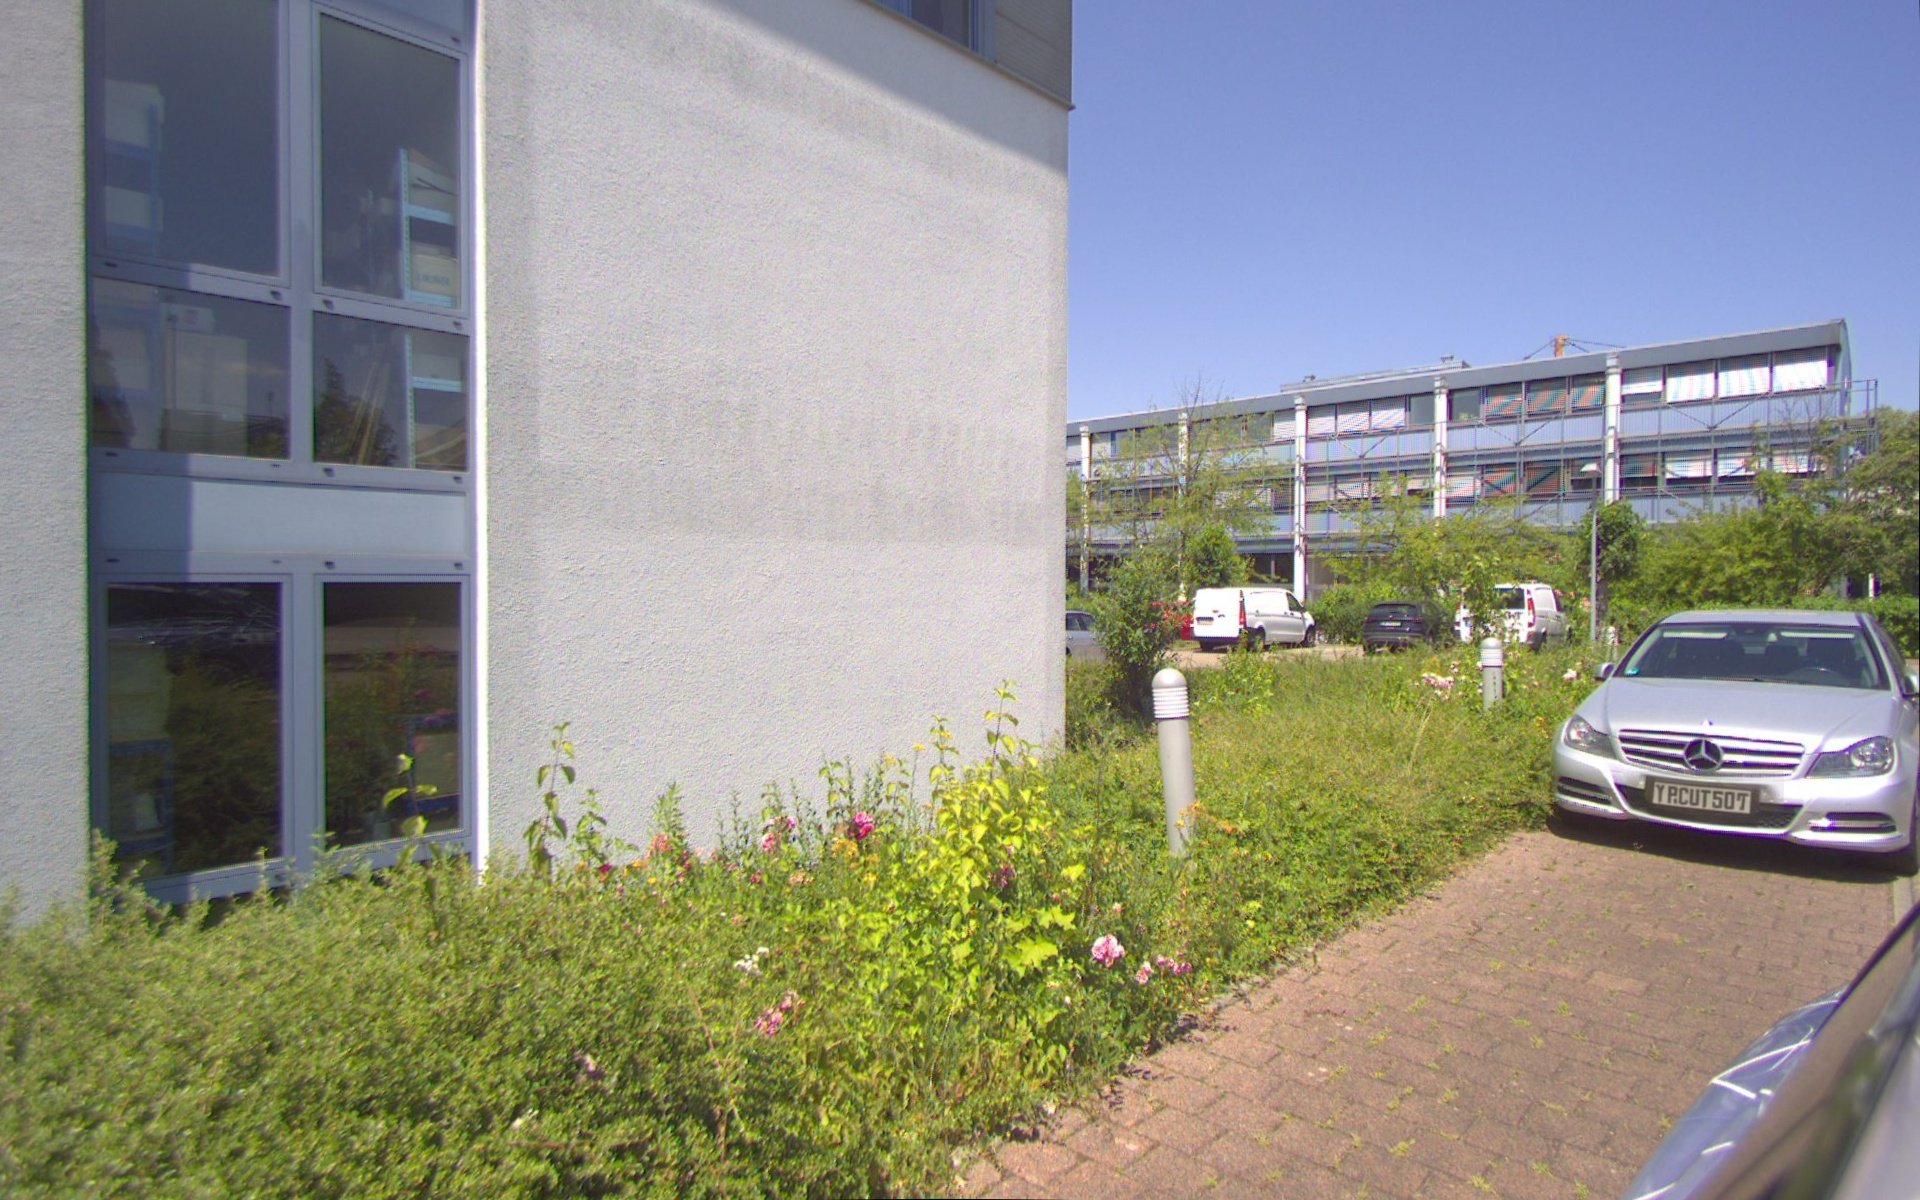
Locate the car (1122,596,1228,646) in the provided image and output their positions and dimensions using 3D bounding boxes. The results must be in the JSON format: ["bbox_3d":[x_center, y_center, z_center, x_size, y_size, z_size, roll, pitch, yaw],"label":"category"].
[{"bbox_3d":[7.176,0.666,33.527,1.620,1.507,3.859,-1,0,44],"label":"car"}]

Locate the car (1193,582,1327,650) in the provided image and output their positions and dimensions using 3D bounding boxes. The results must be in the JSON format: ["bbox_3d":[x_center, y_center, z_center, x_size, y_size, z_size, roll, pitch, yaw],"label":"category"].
[{"bbox_3d":[9.211,0.419,30.790,1.851,1.879,4.856,-1,0,44],"label":"car"}]

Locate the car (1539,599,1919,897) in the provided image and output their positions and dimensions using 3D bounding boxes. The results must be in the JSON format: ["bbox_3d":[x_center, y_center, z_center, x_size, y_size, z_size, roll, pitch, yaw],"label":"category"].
[{"bbox_3d":[5.752,0.731,7.111,4.347,1.415,1.800,-1,1,-44],"label":"car"}]

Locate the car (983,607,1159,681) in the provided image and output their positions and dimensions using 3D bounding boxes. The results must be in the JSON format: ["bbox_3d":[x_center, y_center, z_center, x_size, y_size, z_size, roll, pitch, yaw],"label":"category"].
[{"bbox_3d":[2.664,0.941,23.527,1.850,1.539,4.359,-1,0,42],"label":"car"}]

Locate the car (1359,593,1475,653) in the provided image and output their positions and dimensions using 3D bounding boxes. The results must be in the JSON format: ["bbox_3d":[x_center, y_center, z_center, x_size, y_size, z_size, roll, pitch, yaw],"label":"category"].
[{"bbox_3d":[12.681,0.588,27.947,1.733,1.503,4.134,-1,0,42],"label":"car"}]

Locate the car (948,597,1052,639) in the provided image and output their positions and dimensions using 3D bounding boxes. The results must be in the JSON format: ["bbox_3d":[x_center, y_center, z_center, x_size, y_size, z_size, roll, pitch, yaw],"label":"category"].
[{"bbox_3d":[1.575,0.654,38.719,4.019,1.503,1.735,-1,0,-45],"label":"car"}]

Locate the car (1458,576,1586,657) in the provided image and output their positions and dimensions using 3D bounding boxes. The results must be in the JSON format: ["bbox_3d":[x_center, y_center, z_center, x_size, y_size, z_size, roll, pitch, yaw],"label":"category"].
[{"bbox_3d":[14.420,0.364,25.828,1.861,1.883,4.606,-1,0,42],"label":"car"}]
